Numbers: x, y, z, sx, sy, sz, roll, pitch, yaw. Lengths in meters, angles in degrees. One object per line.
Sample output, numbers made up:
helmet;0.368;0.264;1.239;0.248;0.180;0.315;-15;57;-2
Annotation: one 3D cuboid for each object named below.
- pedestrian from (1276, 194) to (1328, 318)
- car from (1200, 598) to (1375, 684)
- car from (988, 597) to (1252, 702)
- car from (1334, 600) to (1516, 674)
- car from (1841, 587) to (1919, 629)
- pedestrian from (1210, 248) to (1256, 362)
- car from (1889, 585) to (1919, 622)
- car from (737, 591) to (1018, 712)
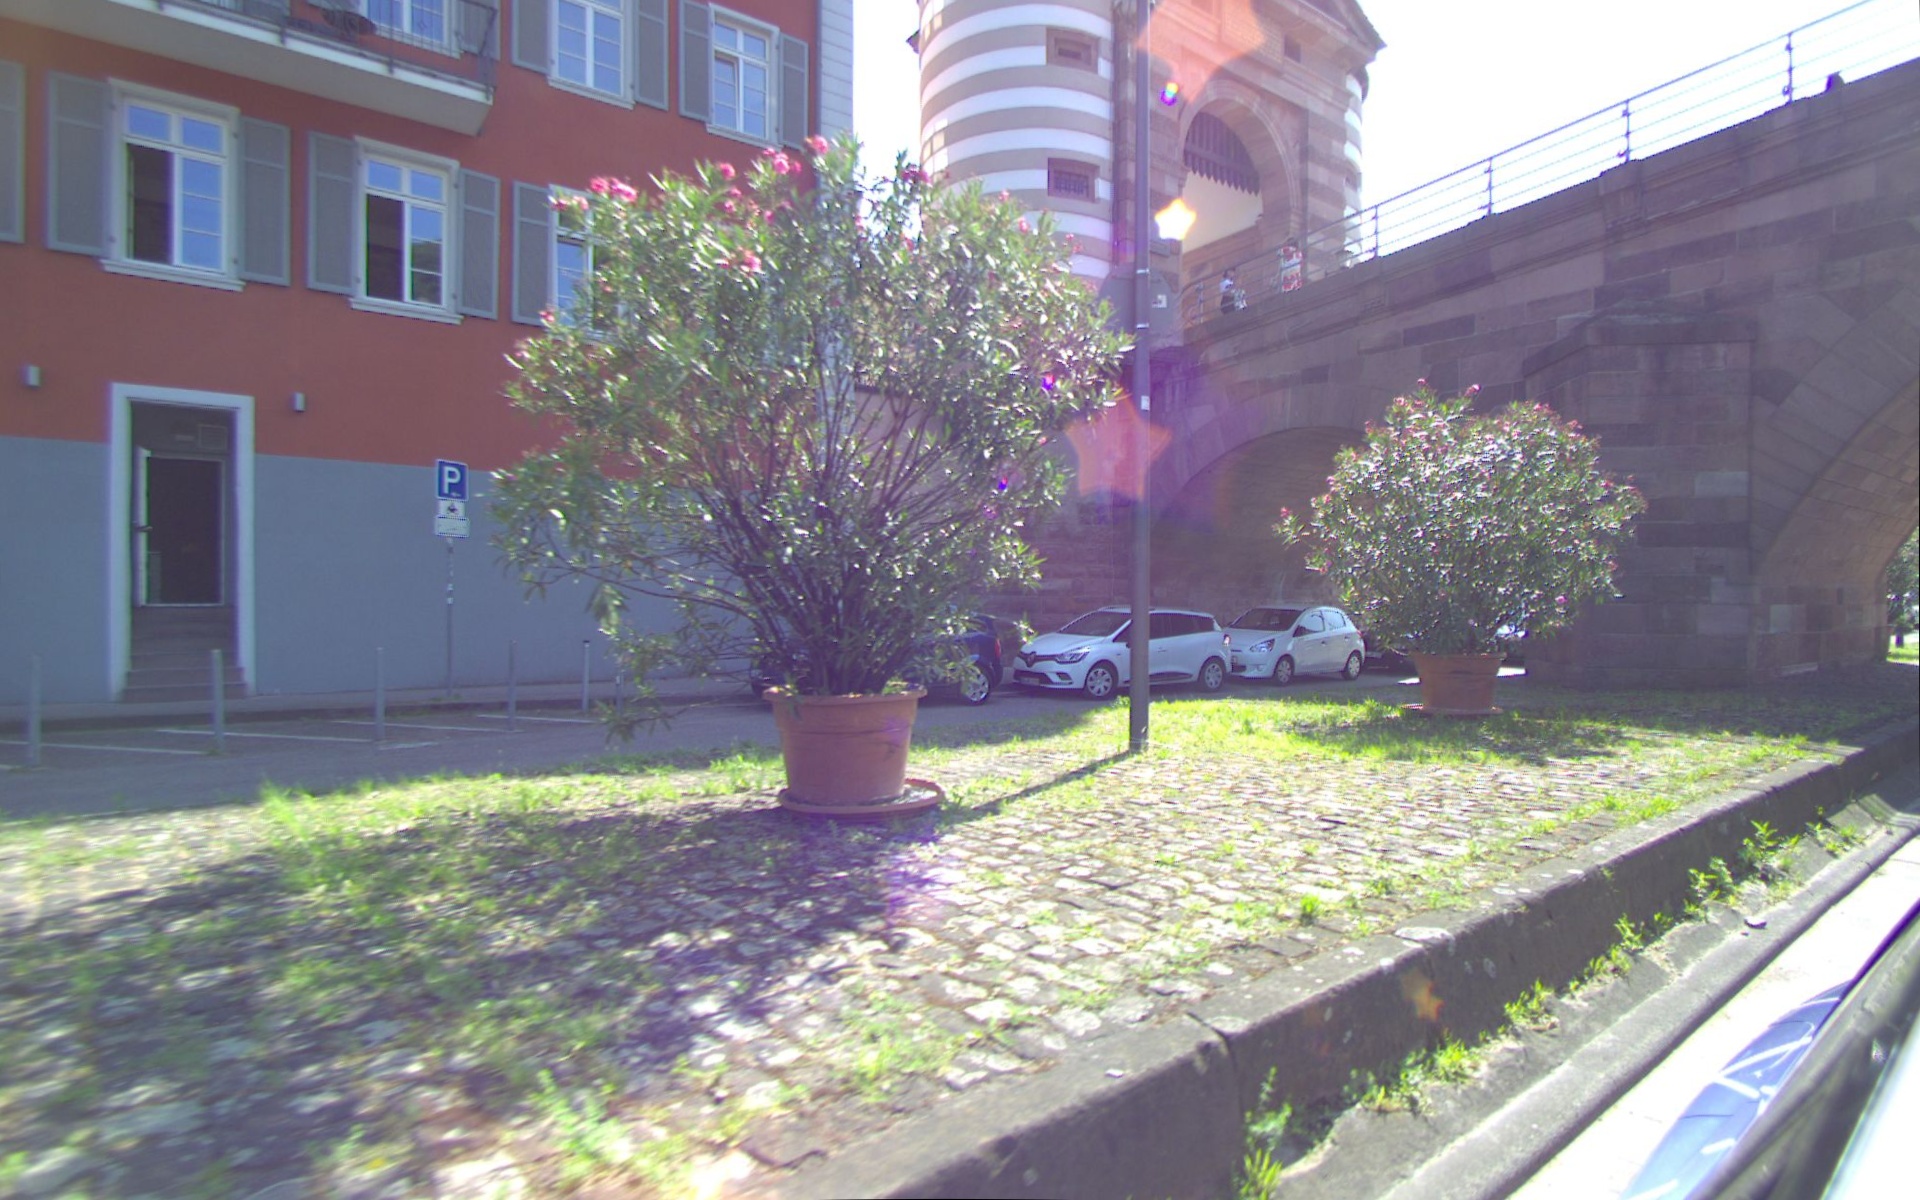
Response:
pedestrian;6.404;-6.418;18.968;0.694;2.038;0.640;-1;1;-37
car;6.423;0.728;19.706;3.602;1.495;1.557;0;1;-39
car;2.774;0.733;17.173;4.332;1.511;1.899;0;1;-35
car;10.524;0.757;22.778;4.407;1.454;1.781;-1;1;-35
car;35.583;0.250;38.776;4.667;1.450;1.759;-2;1;-36
pedestrian;5.479;-5.900;20.334;0.694;2.038;0.580;-1;1;-37
car;39.541;0.125;41.196;3.827;1.431;1.618;-1;1;-33
car;-1.170;0.662;14.763;3.735;1.562;1.678;0;0;-31
